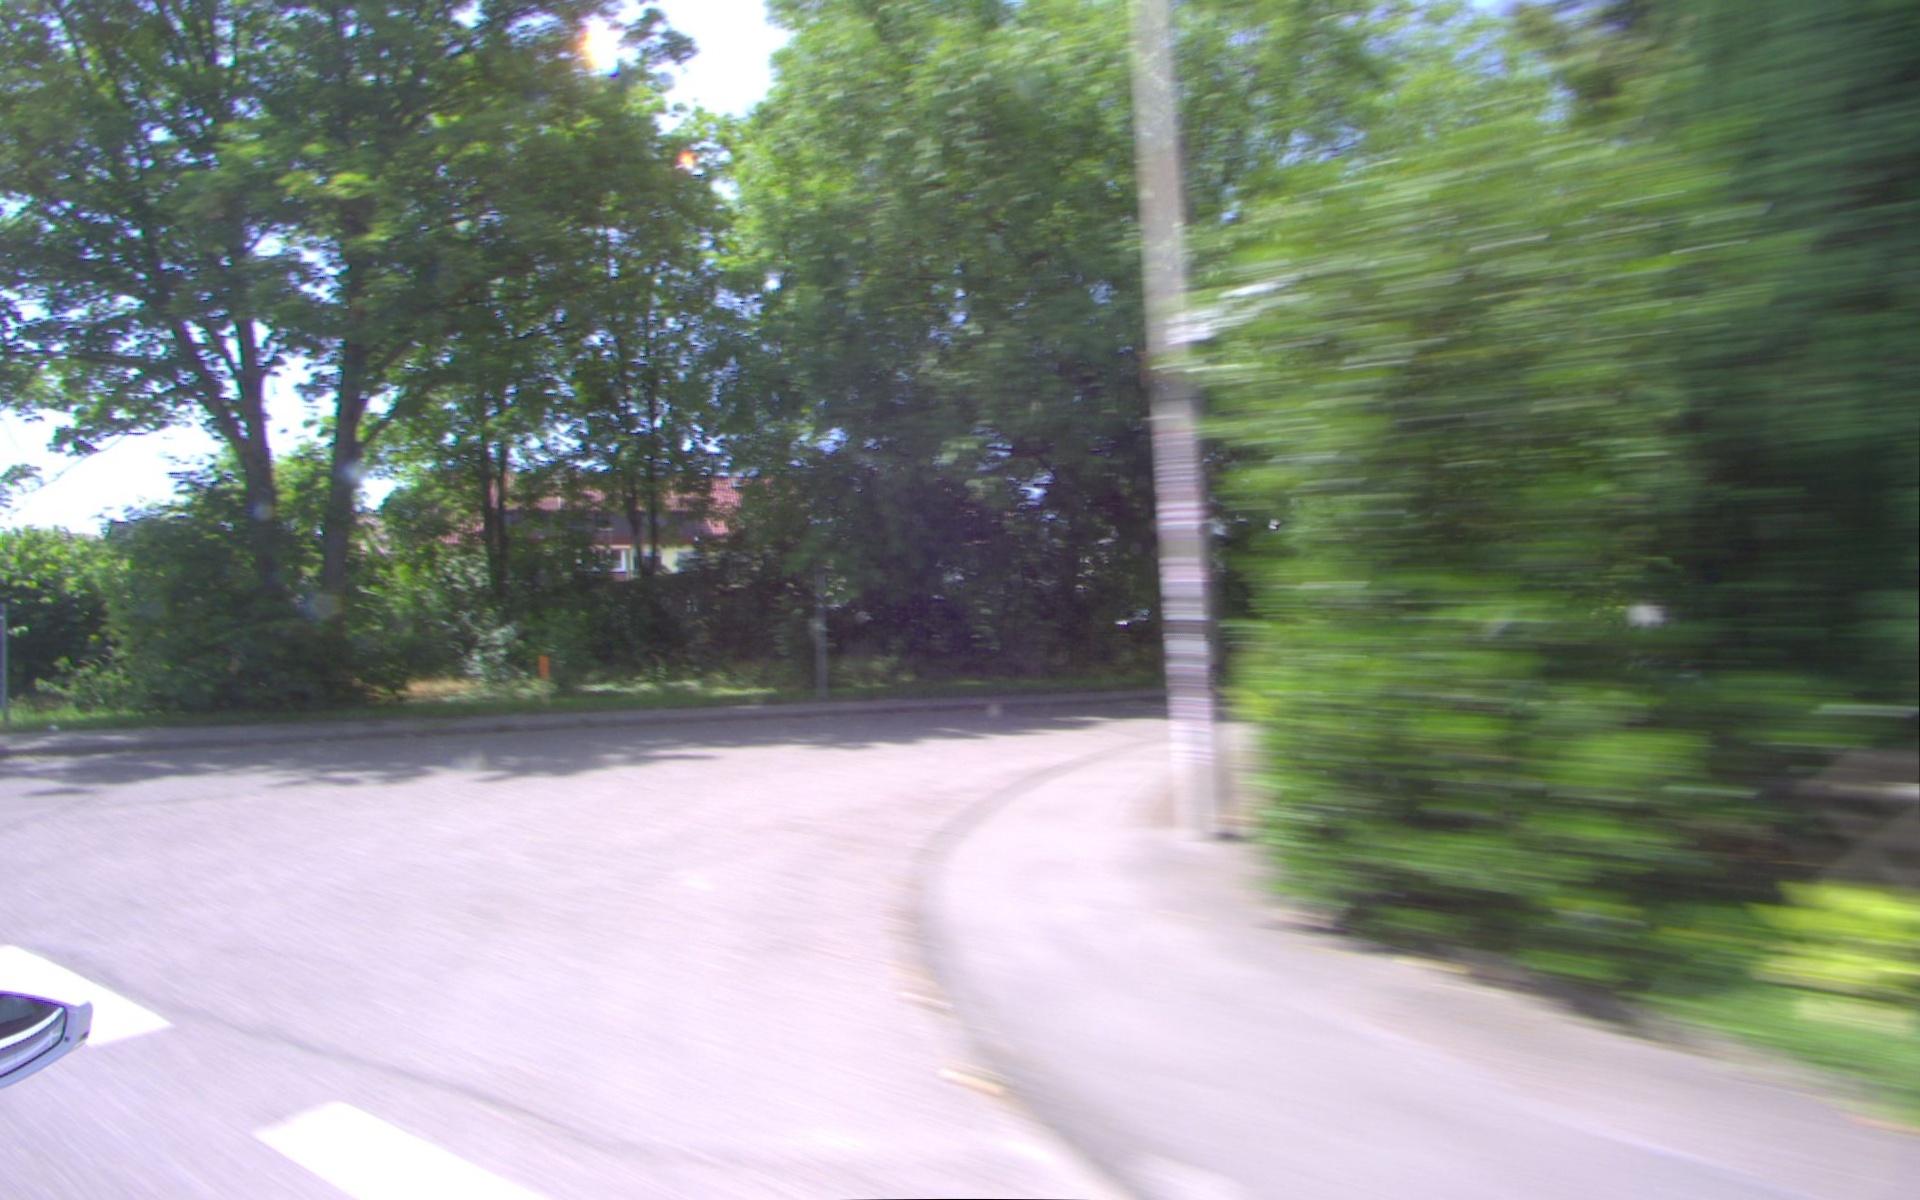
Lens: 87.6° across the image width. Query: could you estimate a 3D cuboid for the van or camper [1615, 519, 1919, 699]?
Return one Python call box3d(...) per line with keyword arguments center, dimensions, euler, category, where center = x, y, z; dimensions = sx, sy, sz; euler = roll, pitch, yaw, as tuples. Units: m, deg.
box3d(center=(10.989, 0.148, 13.344), dimensions=(3.323, 2.166, 1.821), euler=(-1, -3, -8), category="van or camper")
